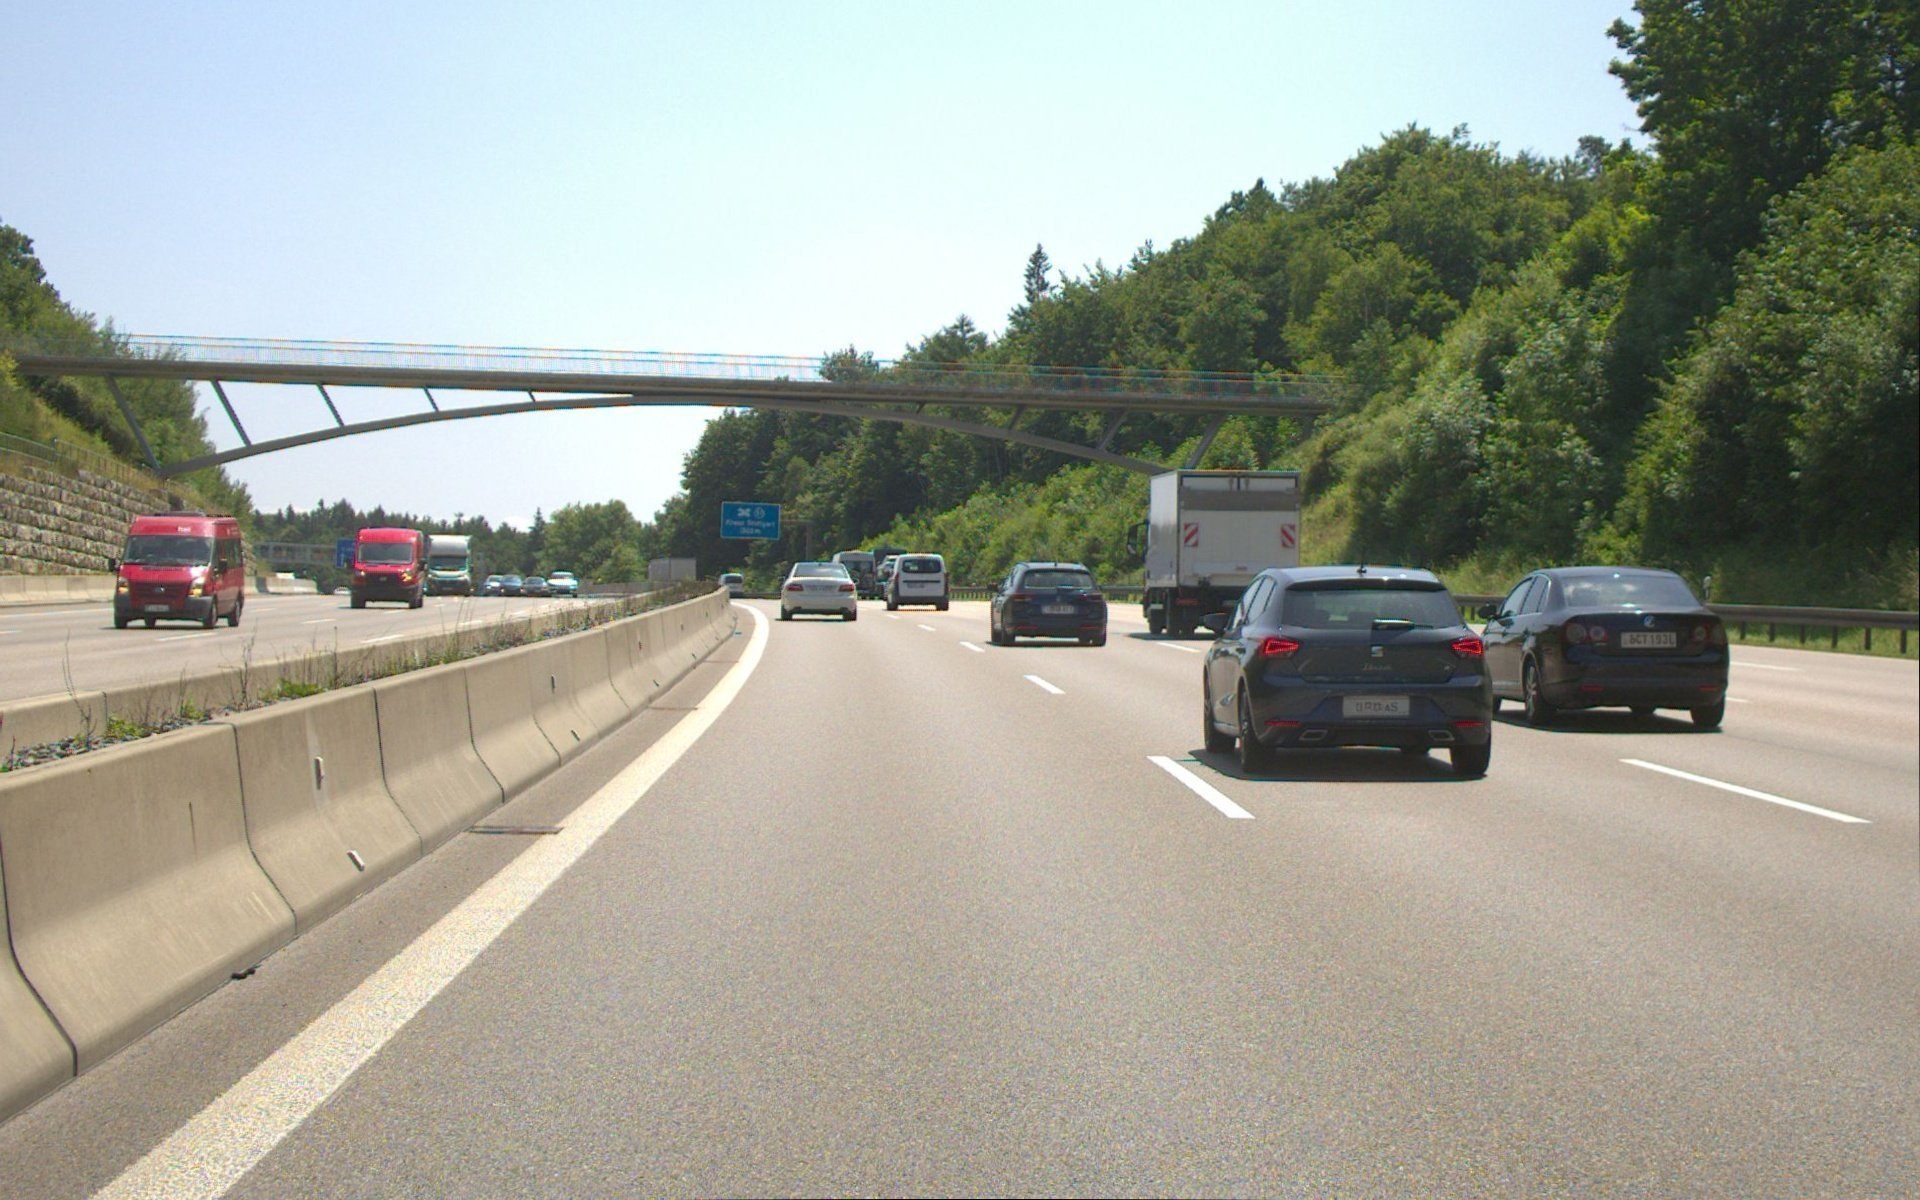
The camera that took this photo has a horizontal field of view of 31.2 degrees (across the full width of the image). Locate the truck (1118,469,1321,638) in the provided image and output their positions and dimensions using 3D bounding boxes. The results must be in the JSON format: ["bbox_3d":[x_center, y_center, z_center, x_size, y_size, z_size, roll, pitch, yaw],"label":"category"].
[{"bbox_3d":[5.076,-0.937,68.670,2.985,3.156,7.575,0,1,-4],"label":"truck"}]

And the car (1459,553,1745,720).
[{"bbox_3d":[5.883,0.282,32.049,1.665,1.403,4.903,1,1,-1],"label":"car"}]

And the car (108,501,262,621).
[{"bbox_3d":[-15.761,-0.809,70.167,1.993,2.328,5.544,0,1,-1],"label":"car"}]

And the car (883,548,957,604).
[{"bbox_3d":[-1.297,-0.778,109.948,2.103,1.738,4.688,0,1,-4],"label":"car"}]

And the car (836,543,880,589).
[{"bbox_3d":[-5.457,-1.787,183.658,2.265,2.363,4.702,0,0,-2],"label":"car"}]

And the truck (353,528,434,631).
[{"bbox_3d":[-17.536,-0.693,106.654,2.110,2.966,7.016,1,2,-7],"label":"truck"}]

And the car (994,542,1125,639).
[{"bbox_3d":[1.698,-0.199,60.366,1.993,1.628,4.760,0,1,-2],"label":"car"}]

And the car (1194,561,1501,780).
[{"bbox_3d":[2.720,0.449,24.937,1.708,1.428,4.000,1,1,-1],"label":"car"}]

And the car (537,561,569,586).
[{"bbox_3d":[-26.013,-1.713,220.015,1.900,1.491,4.806,0,1,-5],"label":"car"}]

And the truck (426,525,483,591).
[{"bbox_3d":[-24.878,-2.072,169.383,2.276,3.132,6.921,2,1,-5],"label":"truck"}]

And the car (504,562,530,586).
[{"bbox_3d":[-30.544,-1.787,237.112,1.653,1.545,4.001,2,2,-5],"label":"car"}]

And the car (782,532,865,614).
[{"bbox_3d":[-3.448,-0.653,86.286,2.012,1.839,4.000,1,-3,-3],"label":"car"}]
